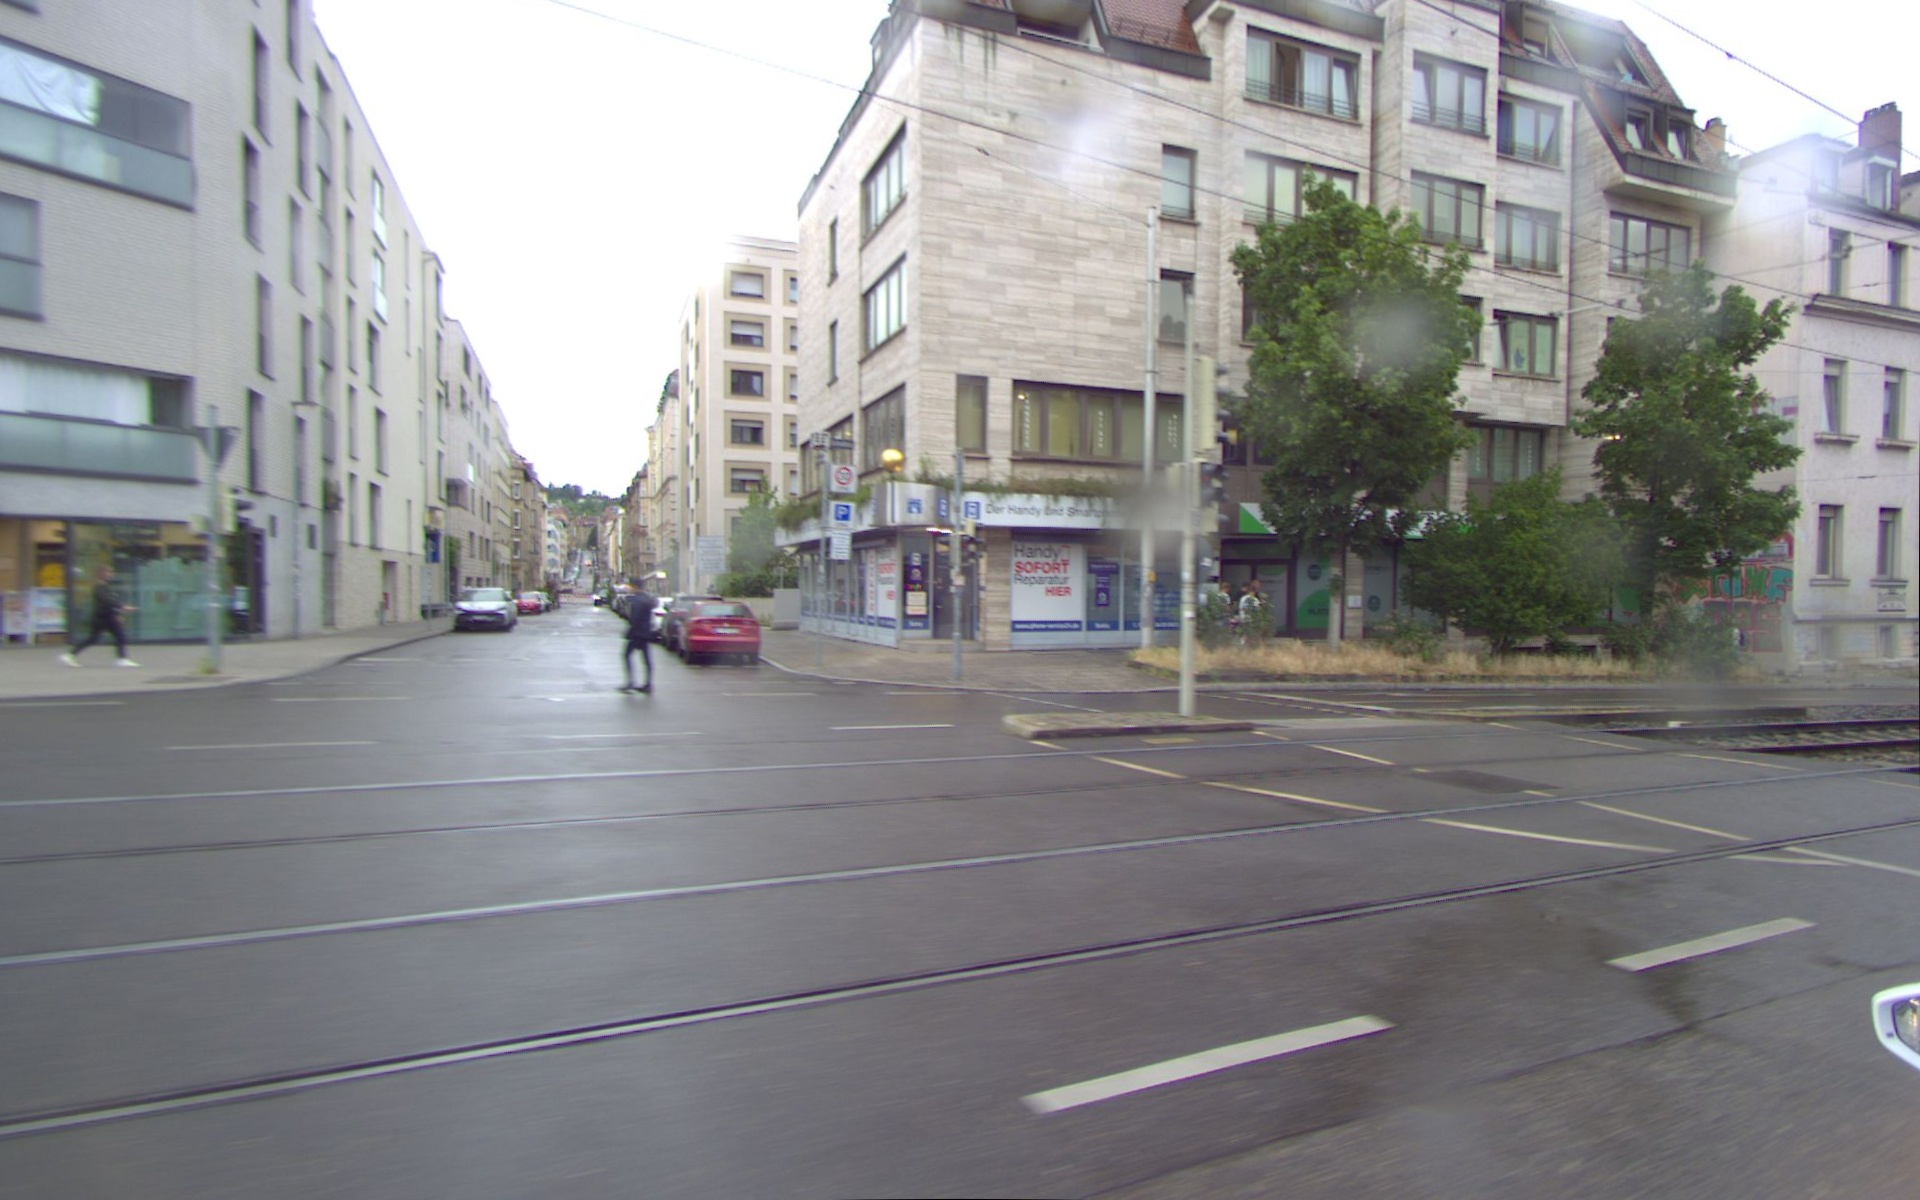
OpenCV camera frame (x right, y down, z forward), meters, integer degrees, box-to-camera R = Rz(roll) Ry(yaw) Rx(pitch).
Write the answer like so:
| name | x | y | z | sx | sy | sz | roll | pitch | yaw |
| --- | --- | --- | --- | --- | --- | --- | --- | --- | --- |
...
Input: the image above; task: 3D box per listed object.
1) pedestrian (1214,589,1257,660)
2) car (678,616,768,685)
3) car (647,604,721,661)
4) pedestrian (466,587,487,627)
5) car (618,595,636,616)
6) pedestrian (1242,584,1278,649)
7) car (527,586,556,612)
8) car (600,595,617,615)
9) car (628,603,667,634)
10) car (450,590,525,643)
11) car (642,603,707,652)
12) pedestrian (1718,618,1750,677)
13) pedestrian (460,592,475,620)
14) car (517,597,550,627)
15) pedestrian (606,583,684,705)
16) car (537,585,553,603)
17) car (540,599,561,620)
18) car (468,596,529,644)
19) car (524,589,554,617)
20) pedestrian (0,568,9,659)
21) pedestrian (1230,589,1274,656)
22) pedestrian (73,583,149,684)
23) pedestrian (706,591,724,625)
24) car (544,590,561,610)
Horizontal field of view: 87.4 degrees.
| name | x | y | z | sx | sy | sz | roll | pitch | yaw |
| --- | --- | --- | --- | --- | --- | --- | --- | --- | --- |
| pedestrian | 7.014 | 0.624 | 25.600 | 0.674 | 1.747 | 0.646 | 3 | 2 | -23 |
| car | -5.671 | 1.146 | 23.737 | 1.570 | 1.335 | 3.688 | 3 | 0 | -20 |
| car | -7.799 | 0.875 | 28.172 | 1.571 | 1.335 | 3.686 | 3 | 0 | -22 |
| pedestrian | -24.786 | 0.363 | 51.546 | 0.804 | 1.975 | 0.854 | 3 | 2 | -21 |
| car | -29.116 | 0.475 | 87.919 | 1.361 | 1.594 | 3.045 | 4 | 2 | -18 |
| pedestrian | 7.762 | 0.427 | 26.003 | 0.577 | 1.619 | 0.502 | 3 | 2 | -23 |
| car | -31.047 | -0.058 | 74.447 | 1.777 | 1.617 | 3.975 | 3 | 2 | -24 |
| car | -32.800 | 0.468 | 93.844 | 1.361 | 1.594 | 3.045 | 4 | 2 | -18 |
| car | -15.903 | 0.917 | 50.971 | 1.571 | 1.335 | 3.686 | 3 | 0 | -22 |
| car | -17.439 | 0.567 | 37.244 | 1.969 | 1.617 | 3.983 | 4 | 2 | -19 |
| car | -9.448 | 0.866 | 33.063 | 1.571 | 1.335 | 4.478 | 3 | 0 | -21 |
| pedestrian | 22.765 | 1.396 | 29.561 | 0.576 | 1.674 | 0.465 | 3 | 2 | -33 |
| pedestrian | -29.355 | 0.329 | 59.901 | 0.653 | 1.609 | 0.538 | 3 | 2 | -19 |
| car | -27.419 | 0.760 | 64.507 | 1.777 | 1.617 | 3.975 | 3 | 2 | -24 |
| pedestrian | -4.989 | 0.693 | 15.880 | 0.948 | 1.854 | 0.926 | 3 | -1 | -29 |
| car | -41.099 | -0.590 | 99.499 | 1.389 | 1.594 | 3.169 | 3 | 2 | -23 |
| car | -37.215 | 0.855 | 91.242 | 1.630 | 1.594 | 3.429 | 3 | 2 | -23 |
| car | -19.033 | 0.781 | 41.582 | 1.774 | 1.617 | 3.983 | 4 | 2 | -18 |
| car | -29.268 | 0.163 | 69.701 | 1.777 | 1.617 | 3.975 | 3 | 2 | -24 |
| pedestrian | -19.128 | 0.253 | 19.747 | 0.582 | 1.733 | 0.696 | 2 | 3 | -45 |
| pedestrian | 7.250 | 0.551 | 24.943 | 0.674 | 1.569 | 0.646 | 3 | 2 | -23 |
| pedestrian | -14.005 | 0.536 | 16.573 | 0.637 | 1.590 | 0.775 | 3 | 1 | 31 |
| pedestrian | -11.773 | 0.393 | 48.316 | 0.640 | 1.569 | 0.680 | 3 | 2 | -23 |
| car | -38.469 | -0.014 | 94.834 | 1.389 | 1.594 | 3.169 | 3 | 2 | -23 |
